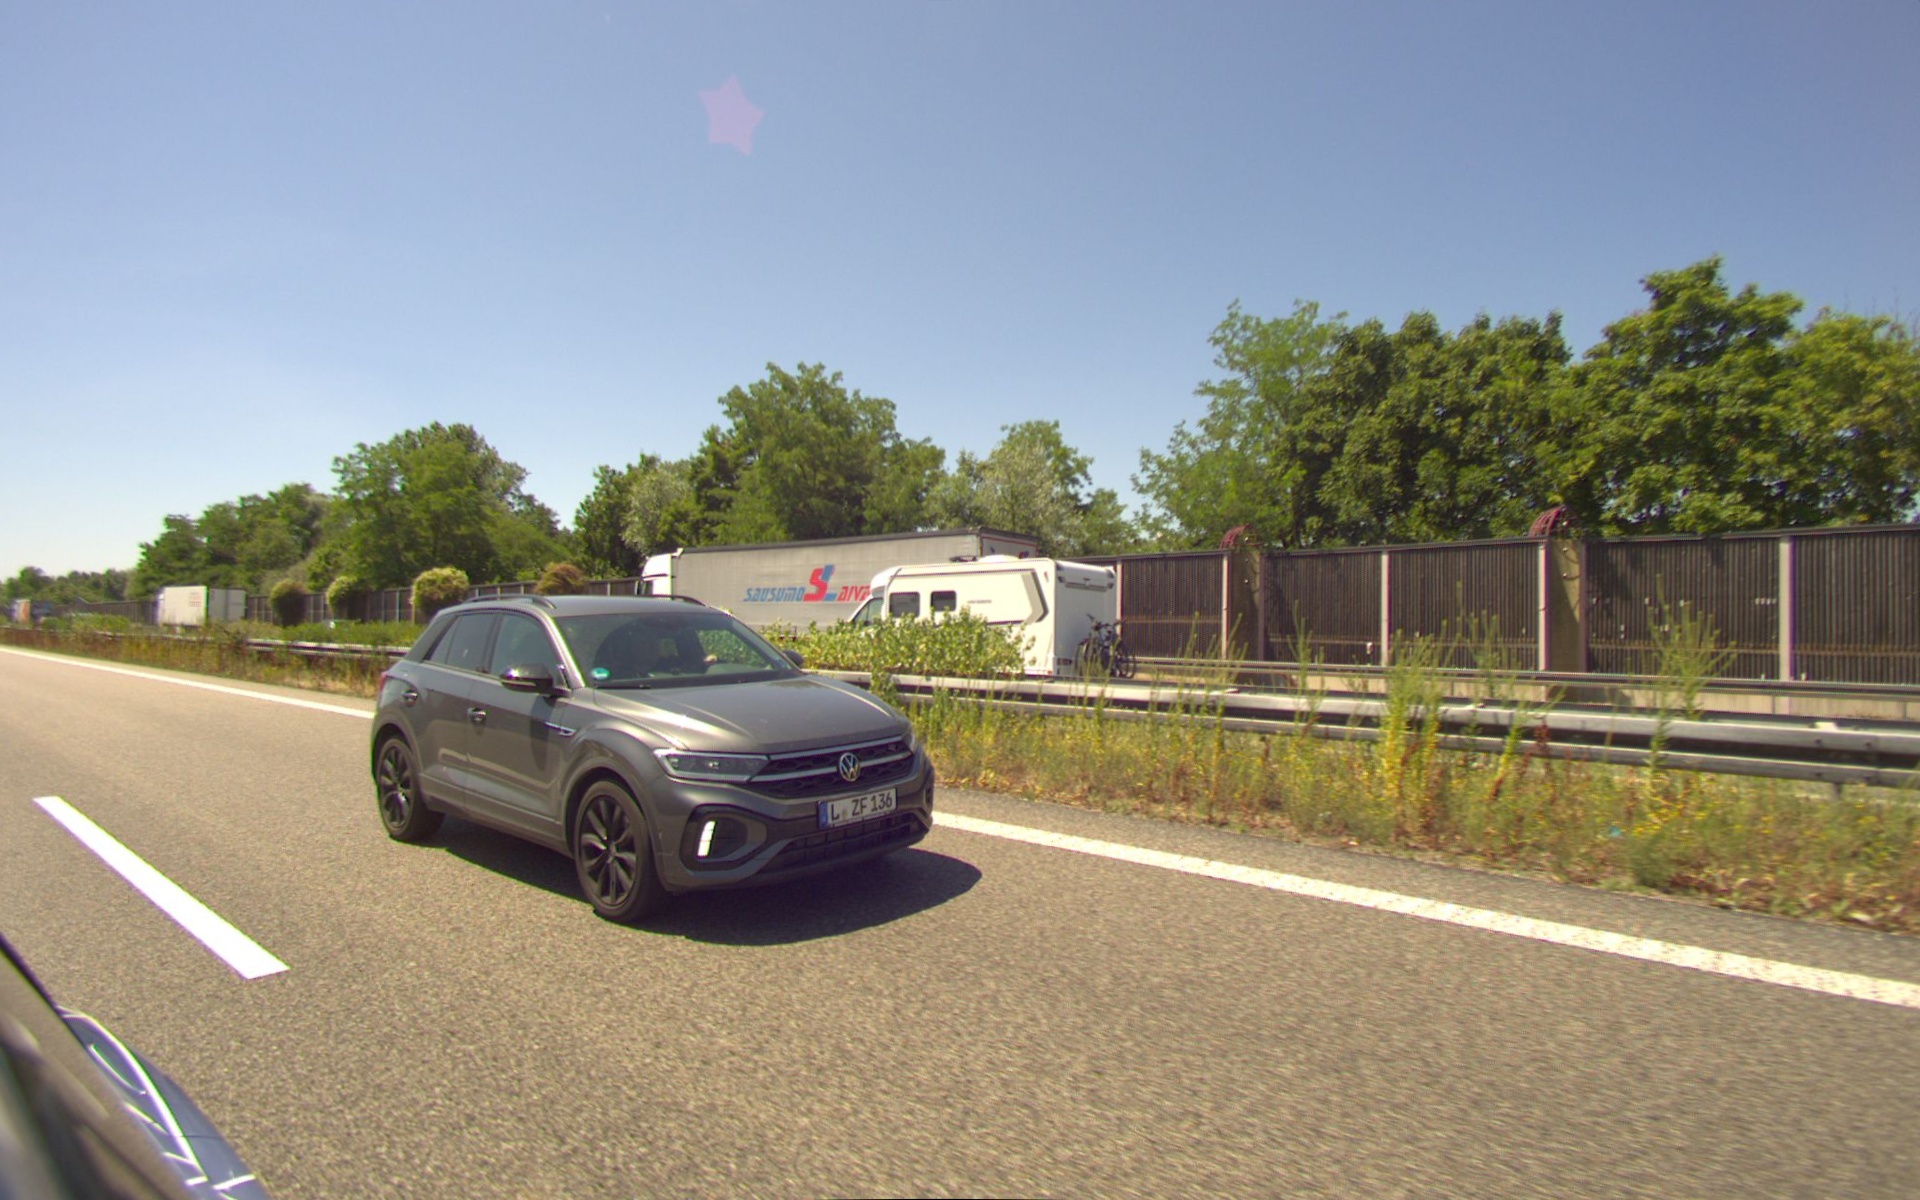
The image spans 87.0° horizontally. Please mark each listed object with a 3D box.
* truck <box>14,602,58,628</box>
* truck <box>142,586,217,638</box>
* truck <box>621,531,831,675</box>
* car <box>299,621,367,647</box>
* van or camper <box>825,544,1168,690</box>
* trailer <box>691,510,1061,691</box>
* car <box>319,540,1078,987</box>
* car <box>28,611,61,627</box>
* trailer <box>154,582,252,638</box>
[{"bbox_3d":[-130.498,2.123,142.825,16.997,3.367,2.808,-2,-1,42],"label":"truck"},{"bbox_3d":[-65.454,1.052,84.803,7.835,4.135,3.544,-1,-2,41],"label":"truck"},{"bbox_3d":[-8.297,0.137,35.258,7.867,4.473,3.183,-1,-1,42],"label":"truck"},{"bbox_3d":[-29.391,1.561,47.409,4.077,1.164,1.609,-1,-1,42],"label":"car"},{"bbox_3d":[0.500,0.353,21.382,7.408,2.596,2.440,-1,-1,42],"label":"van or camper"},{"bbox_3d":[-3.115,0.082,30.679,12.947,4.511,3.133,-1,-1,42],"label":"trailer"},{"bbox_3d":[-1.913,0.679,6.081,5.004,1.652,1.861,-2,-2,40],"label":"car"},{"bbox_3d":[-95.609,1.995,105.681,4.504,1.608,1.972,-1,-2,41],"label":"car"},{"bbox_3d":[-59.843,0.880,79.808,12.790,4.135,3.573,-1,-2,41],"label":"trailer"}]
